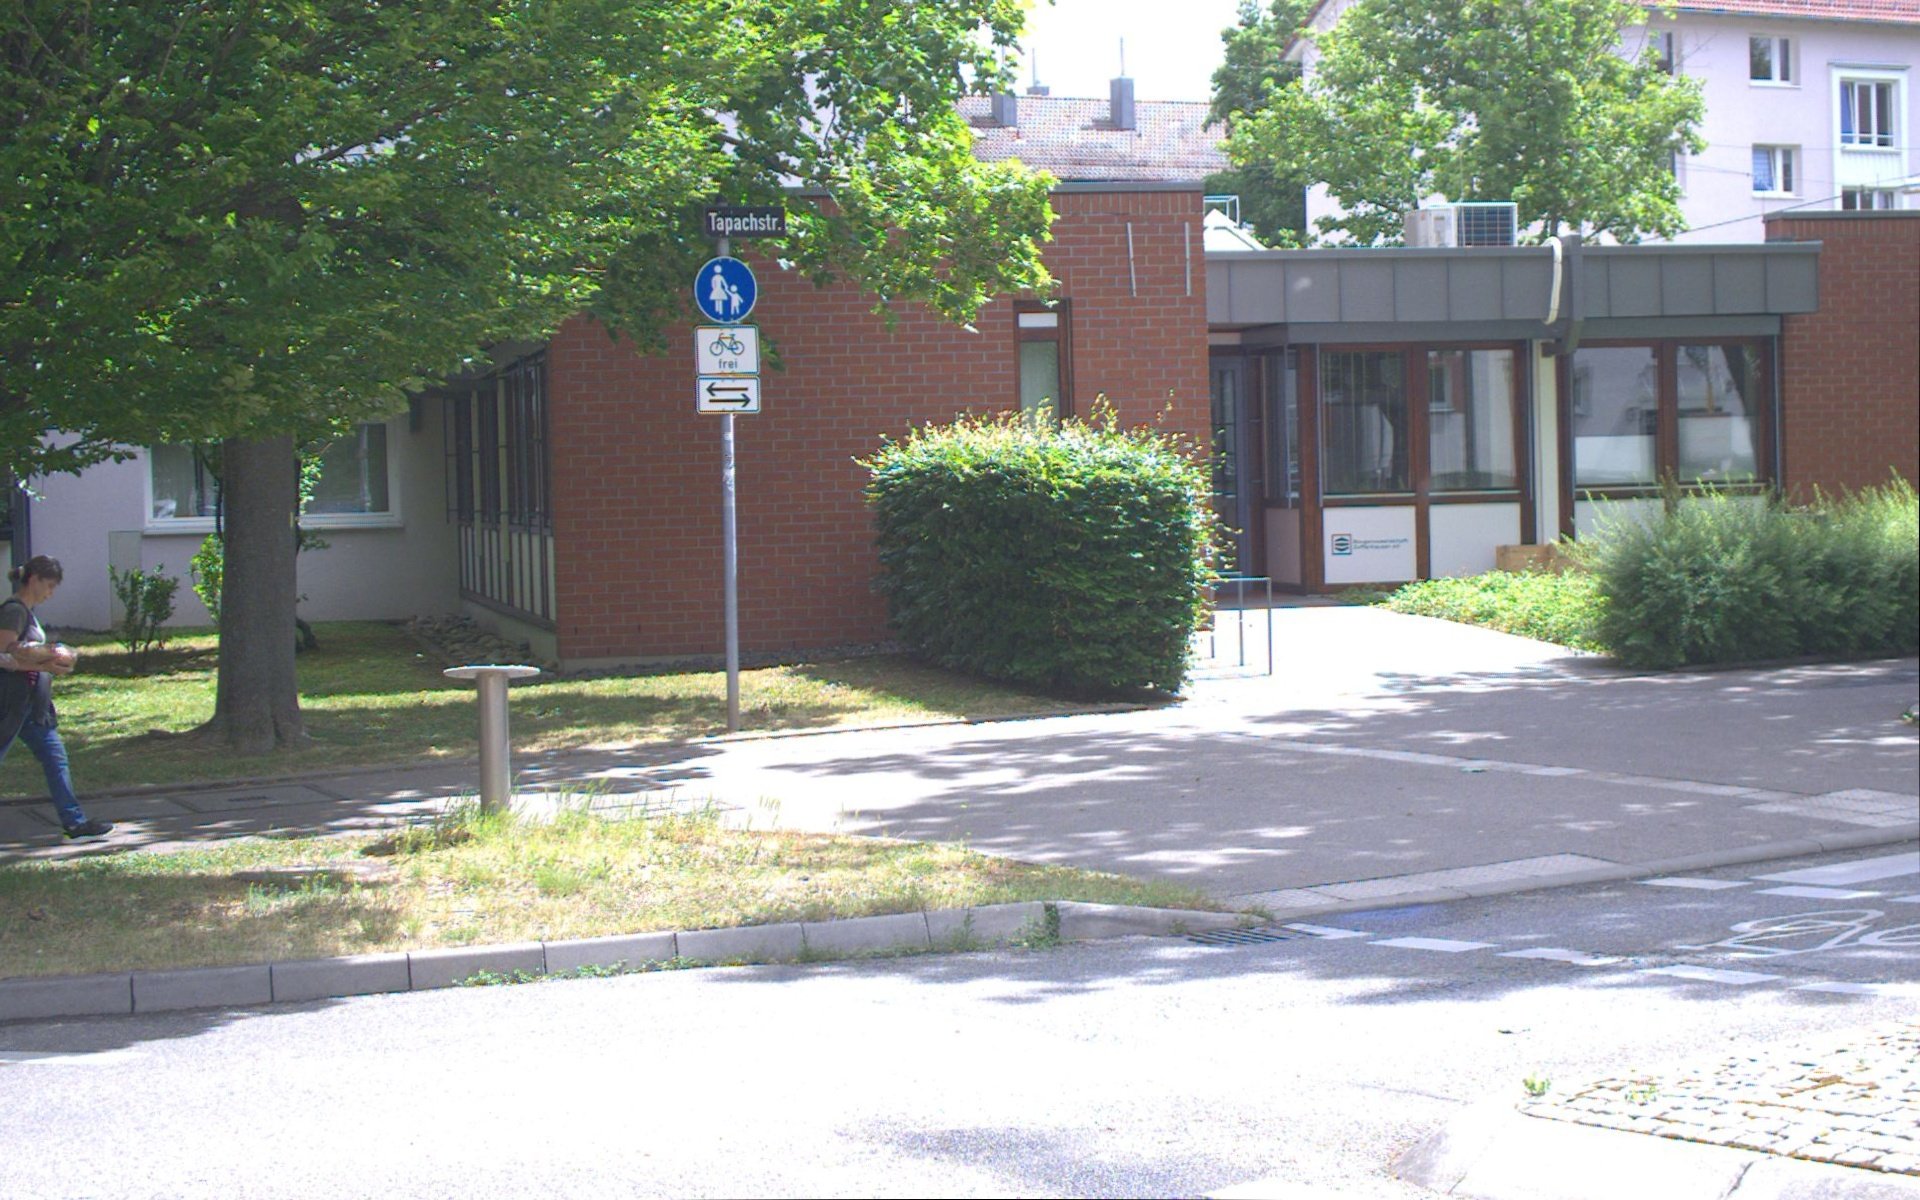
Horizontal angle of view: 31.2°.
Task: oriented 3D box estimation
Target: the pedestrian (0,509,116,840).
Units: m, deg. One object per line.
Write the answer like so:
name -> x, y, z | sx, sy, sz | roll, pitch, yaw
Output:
pedestrian -> -4.769, 0.371, 17.175 | 0.838, 1.573, 0.721 | -6, 3, -22
